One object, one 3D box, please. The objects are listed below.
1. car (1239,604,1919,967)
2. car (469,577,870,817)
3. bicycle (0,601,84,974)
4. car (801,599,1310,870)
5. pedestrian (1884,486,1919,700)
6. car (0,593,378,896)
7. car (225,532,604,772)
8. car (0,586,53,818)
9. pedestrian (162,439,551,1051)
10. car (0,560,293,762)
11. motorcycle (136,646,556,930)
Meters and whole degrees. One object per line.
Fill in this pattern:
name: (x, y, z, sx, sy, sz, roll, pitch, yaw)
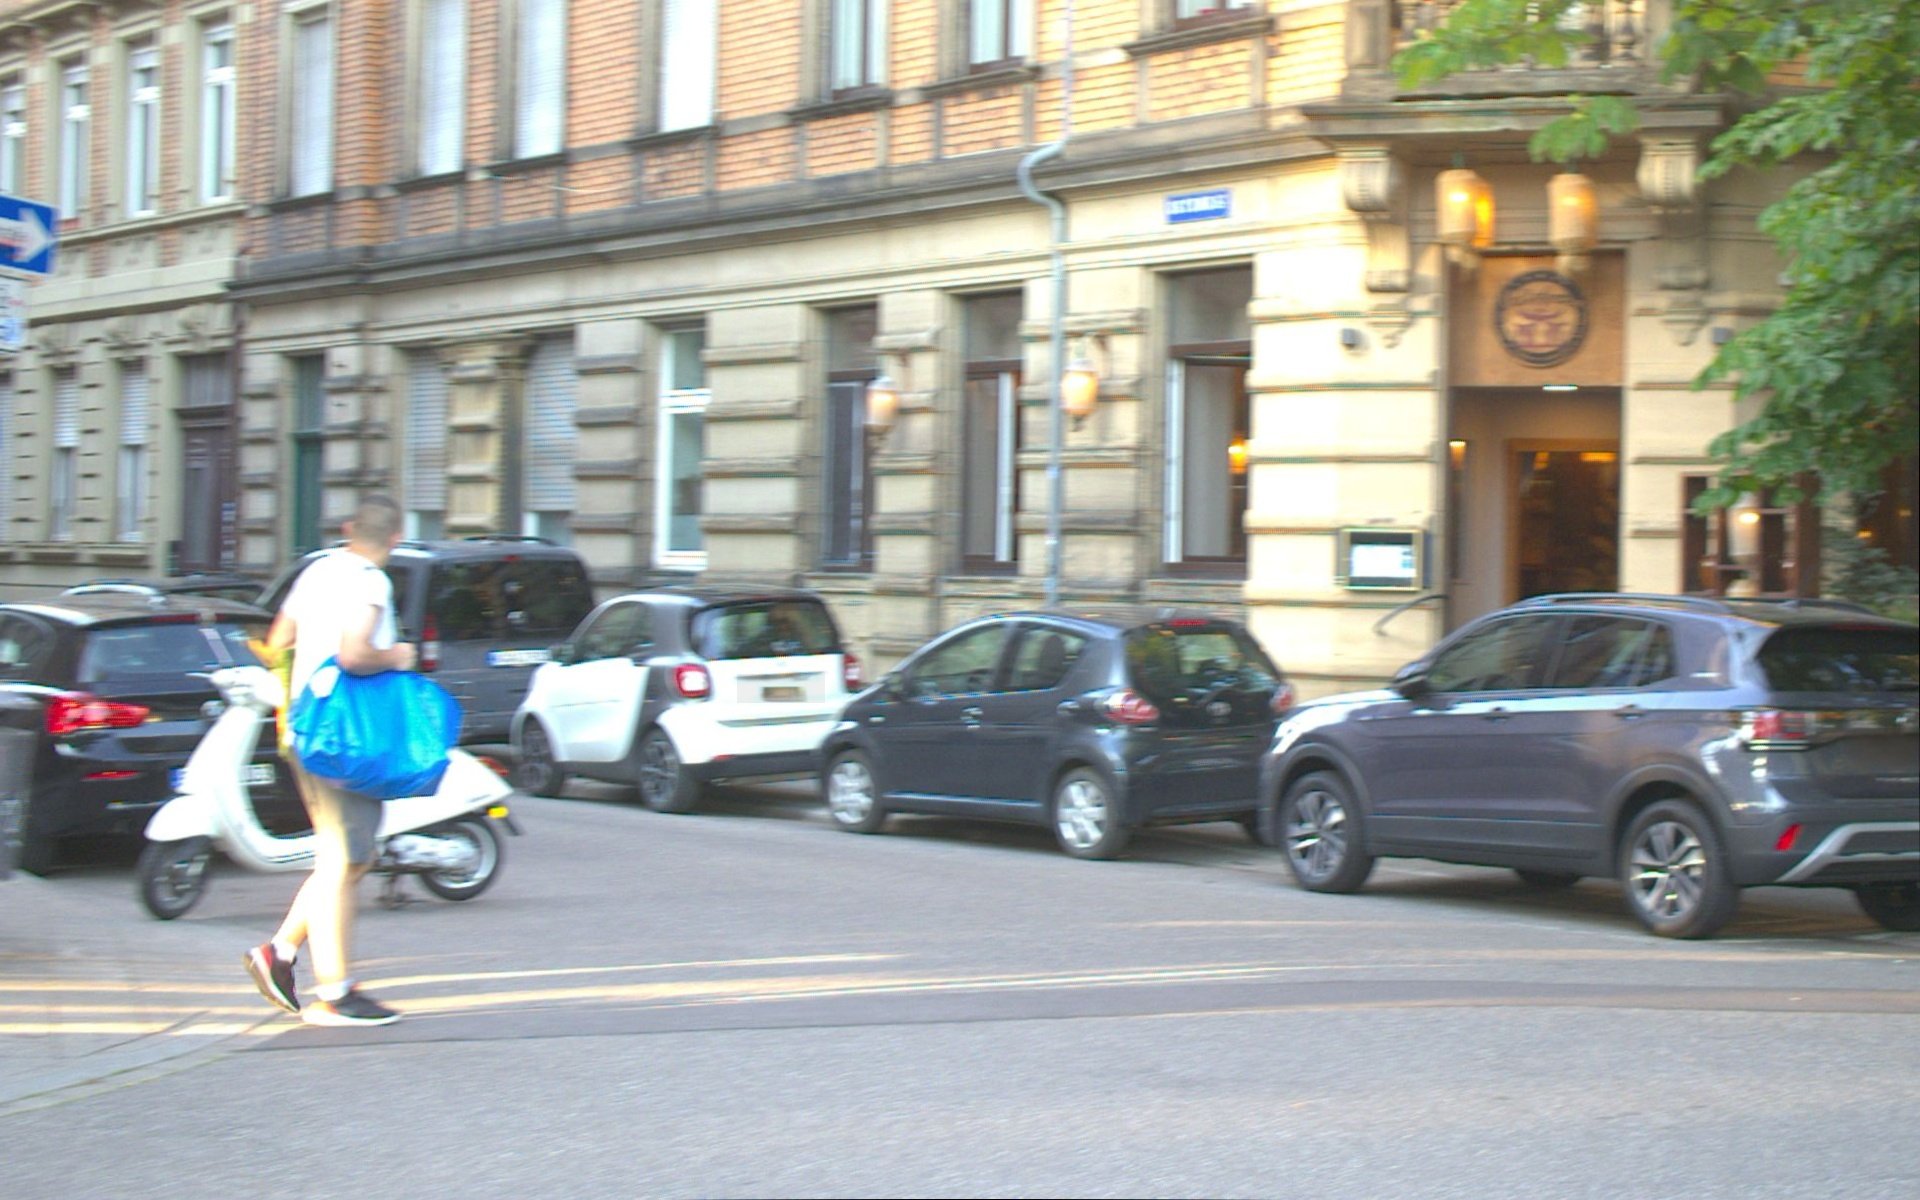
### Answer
car: (3.229, 0.812, 17.051, 1.628, 1.540, 3.858, 0, 1, -34)
car: (-2.151, 0.641, 24.763, 1.462, 1.589, 3.333, 0, 1, -33)
bicycle: (-3.914, 0.711, 13.572, 0.516, 1.387, 1.801, 3, 0, -4)
car: (0.523, 0.768, 21.389, 1.462, 1.453, 3.333, 0, 2, -34)
pedestrian: (6.472, -0.048, 22.725, 0.462, 1.408, 0.524, 0, 0, -29)
car: (-4.896, 0.703, 18.970, 1.782, 1.453, 4.018, 0, 1, -35)
car: (-4.485, 0.378, 27.938, 1.683, 1.817, 3.488, 0, 1, -35)
car: (-7.657, 0.623, 23.169, 1.574, 1.453, 4.424, 0, 1, -35)
pedestrian: (-2.094, 0.481, 11.914, 1.006, 2.007, 0.869, 2, -1, -35)
car: (-7.895, 0.537, 32.912, 1.683, 1.817, 3.488, 0, 1, -35)
motorcycle: (-2.820, 0.842, 15.804, 1.854, 1.252, 0.473, 0, 0, -17)
